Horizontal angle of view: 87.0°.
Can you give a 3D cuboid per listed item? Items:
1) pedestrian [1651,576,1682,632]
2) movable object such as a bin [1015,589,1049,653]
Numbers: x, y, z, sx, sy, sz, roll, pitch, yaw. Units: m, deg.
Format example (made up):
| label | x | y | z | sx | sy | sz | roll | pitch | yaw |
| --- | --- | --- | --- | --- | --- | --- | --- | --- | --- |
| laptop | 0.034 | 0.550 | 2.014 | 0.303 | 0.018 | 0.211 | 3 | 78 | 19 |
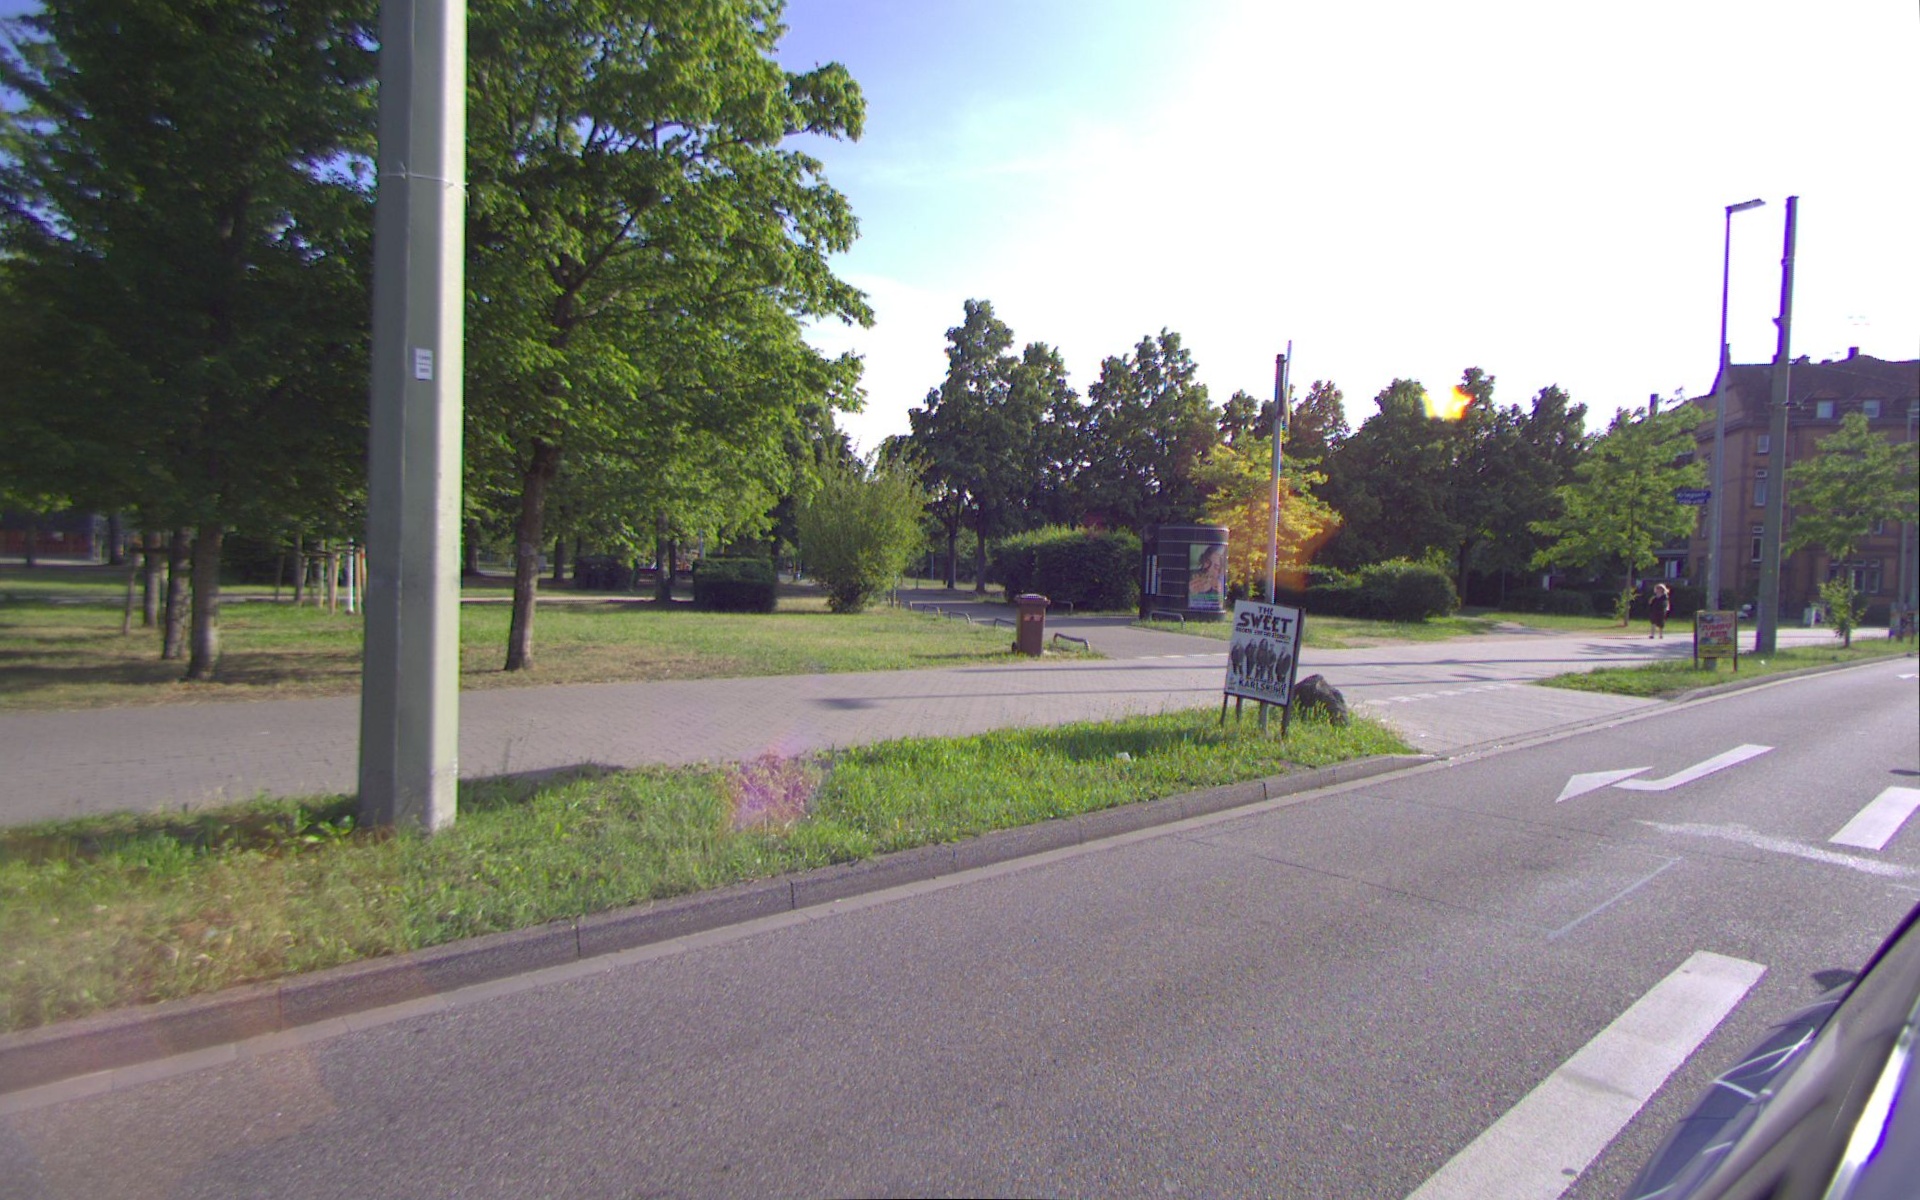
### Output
| label | x | y | z | sx | sy | sz | roll | pitch | yaw |
| --- | --- | --- | --- | --- | --- | --- | --- | --- | --- |
| pedestrian | 21.726 | 0.118 | 31.124 | 0.607 | 1.706 | 0.621 | 1 | 0 | -40 |
| movable object such as a bin | 1.093 | 0.305 | 15.432 | 0.447 | 0.929 | 0.605 | 2 | 2 | 1 |
